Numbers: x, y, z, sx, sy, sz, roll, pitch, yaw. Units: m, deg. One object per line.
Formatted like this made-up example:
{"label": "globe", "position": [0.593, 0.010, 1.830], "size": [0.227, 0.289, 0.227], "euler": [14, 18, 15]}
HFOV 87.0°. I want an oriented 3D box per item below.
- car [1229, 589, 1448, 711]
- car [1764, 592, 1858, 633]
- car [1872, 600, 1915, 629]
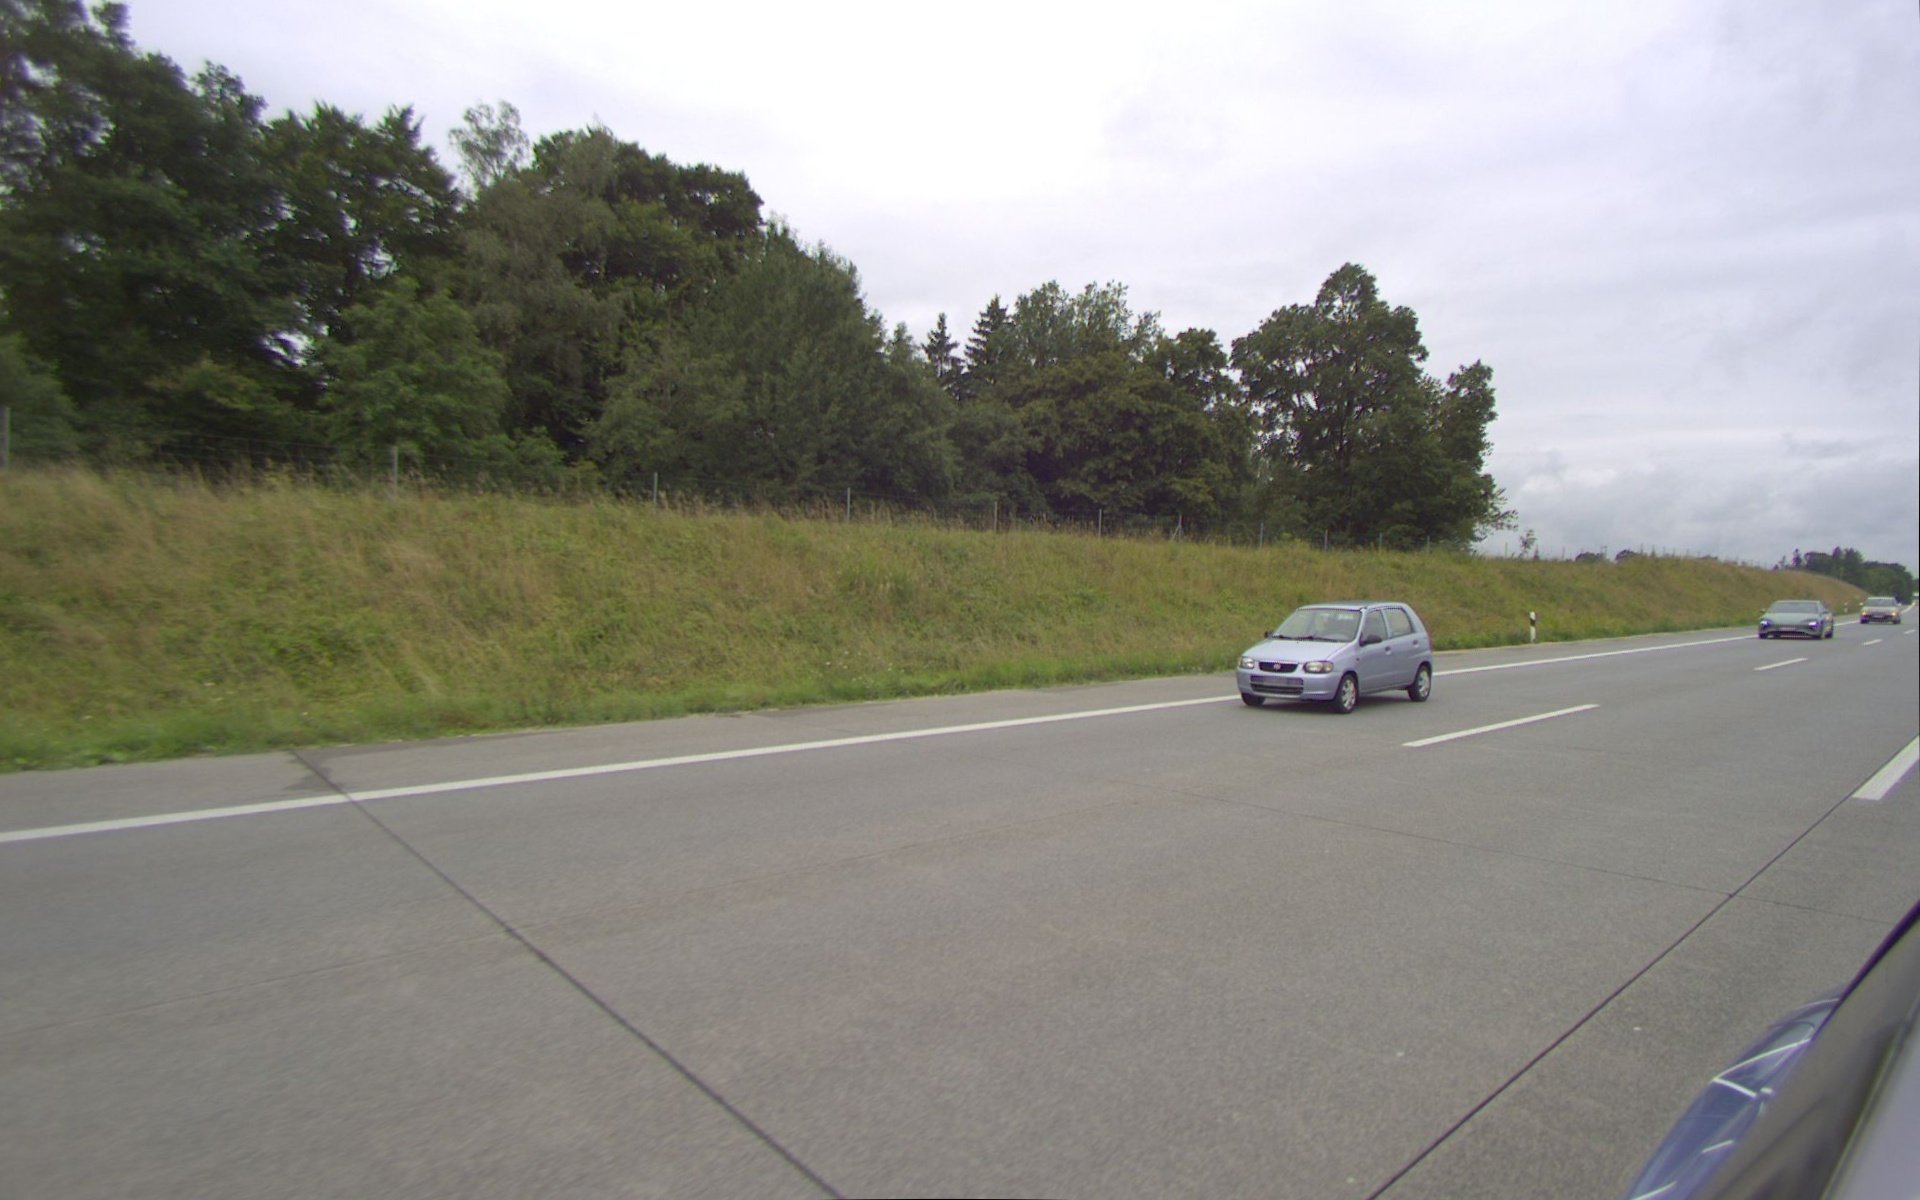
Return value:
{"label": "car", "position": [5.376, 0.634, 14.177], "size": [3.445, 1.489, 1.487], "euler": [1, 0, -43]}
{"label": "car", "position": [32.641, 0.498, 38.778], "size": [4.660, 1.464, 2.018], "euler": [1, -1, -40]}
{"label": "car", "position": [57.693, 0.910, 62.553], "size": [1.786, 1.624, 4.497], "euler": [5, 2, 44]}
